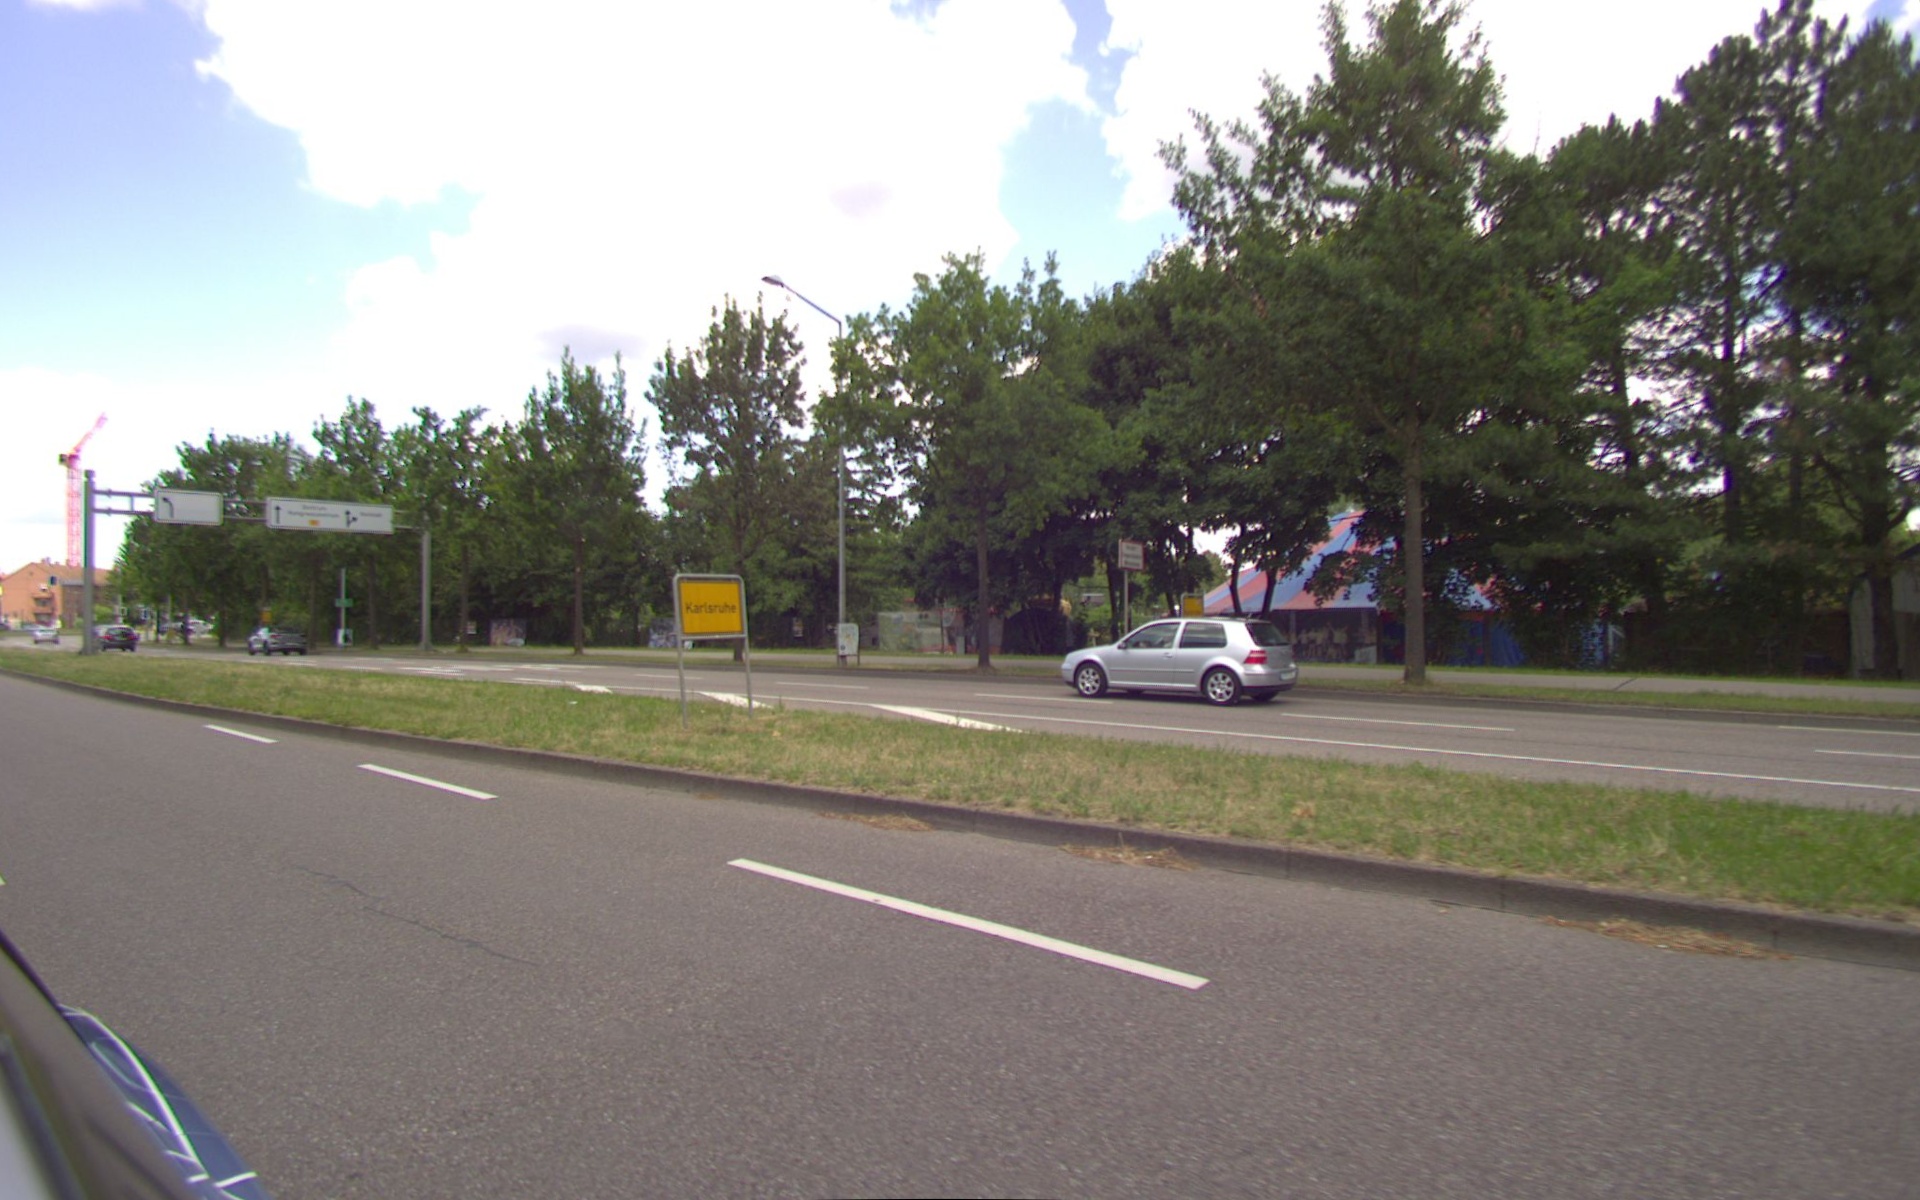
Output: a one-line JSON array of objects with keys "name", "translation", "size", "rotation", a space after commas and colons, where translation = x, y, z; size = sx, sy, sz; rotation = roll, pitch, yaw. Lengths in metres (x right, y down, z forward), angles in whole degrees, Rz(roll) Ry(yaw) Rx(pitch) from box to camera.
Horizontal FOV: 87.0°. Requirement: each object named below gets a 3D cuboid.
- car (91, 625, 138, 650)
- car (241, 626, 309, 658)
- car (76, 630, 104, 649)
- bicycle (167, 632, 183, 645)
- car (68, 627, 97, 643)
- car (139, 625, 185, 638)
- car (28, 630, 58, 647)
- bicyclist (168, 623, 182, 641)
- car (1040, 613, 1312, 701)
[{"name": "car", "translation": [-55.012, 2.416, 65.823], "size": [4.274, 1.581, 1.723], "rotation": [-2, -3, 42]}, {"name": "car", "translation": [-35.365, 2.142, 52.187], "size": [4.570, 1.557, 1.723], "rotation": [-2, -3, 40]}, {"name": "car", "translation": [-76.377, 3.420, 88.827], "size": [1.742, 1.589, 5.037], "rotation": [1, -2, -42]}, {"name": "bicycle", "translation": [-73.912, 3.614, 95.282], "size": [2.015, 1.228, 0.753], "rotation": [-1, 1, 41]}, {"name": "car", "translation": [-90.754, 3.639, 104.694], "size": [1.699, 1.603, 5.025], "rotation": [1, -2, -35]}, {"name": "car", "translation": [-92.230, 3.672, 117.085], "size": [1.816, 1.491, 4.757], "rotation": [0, -2, -5]}, {"name": "car", "translation": [-80.661, 3.396, 89.005], "size": [1.743, 1.451, 4.311], "rotation": [2, -2, -45]}, {"name": "bicyclist", "translation": [-73.964, 3.005, 95.310], "size": [0.883, 1.576, 0.821], "rotation": [-1, 1, 41]}, {"name": "car", "translation": [3.614, 0.930, 17.475], "size": [4.379, 1.339, 1.623], "rotation": [-2, -2, 41]}]
